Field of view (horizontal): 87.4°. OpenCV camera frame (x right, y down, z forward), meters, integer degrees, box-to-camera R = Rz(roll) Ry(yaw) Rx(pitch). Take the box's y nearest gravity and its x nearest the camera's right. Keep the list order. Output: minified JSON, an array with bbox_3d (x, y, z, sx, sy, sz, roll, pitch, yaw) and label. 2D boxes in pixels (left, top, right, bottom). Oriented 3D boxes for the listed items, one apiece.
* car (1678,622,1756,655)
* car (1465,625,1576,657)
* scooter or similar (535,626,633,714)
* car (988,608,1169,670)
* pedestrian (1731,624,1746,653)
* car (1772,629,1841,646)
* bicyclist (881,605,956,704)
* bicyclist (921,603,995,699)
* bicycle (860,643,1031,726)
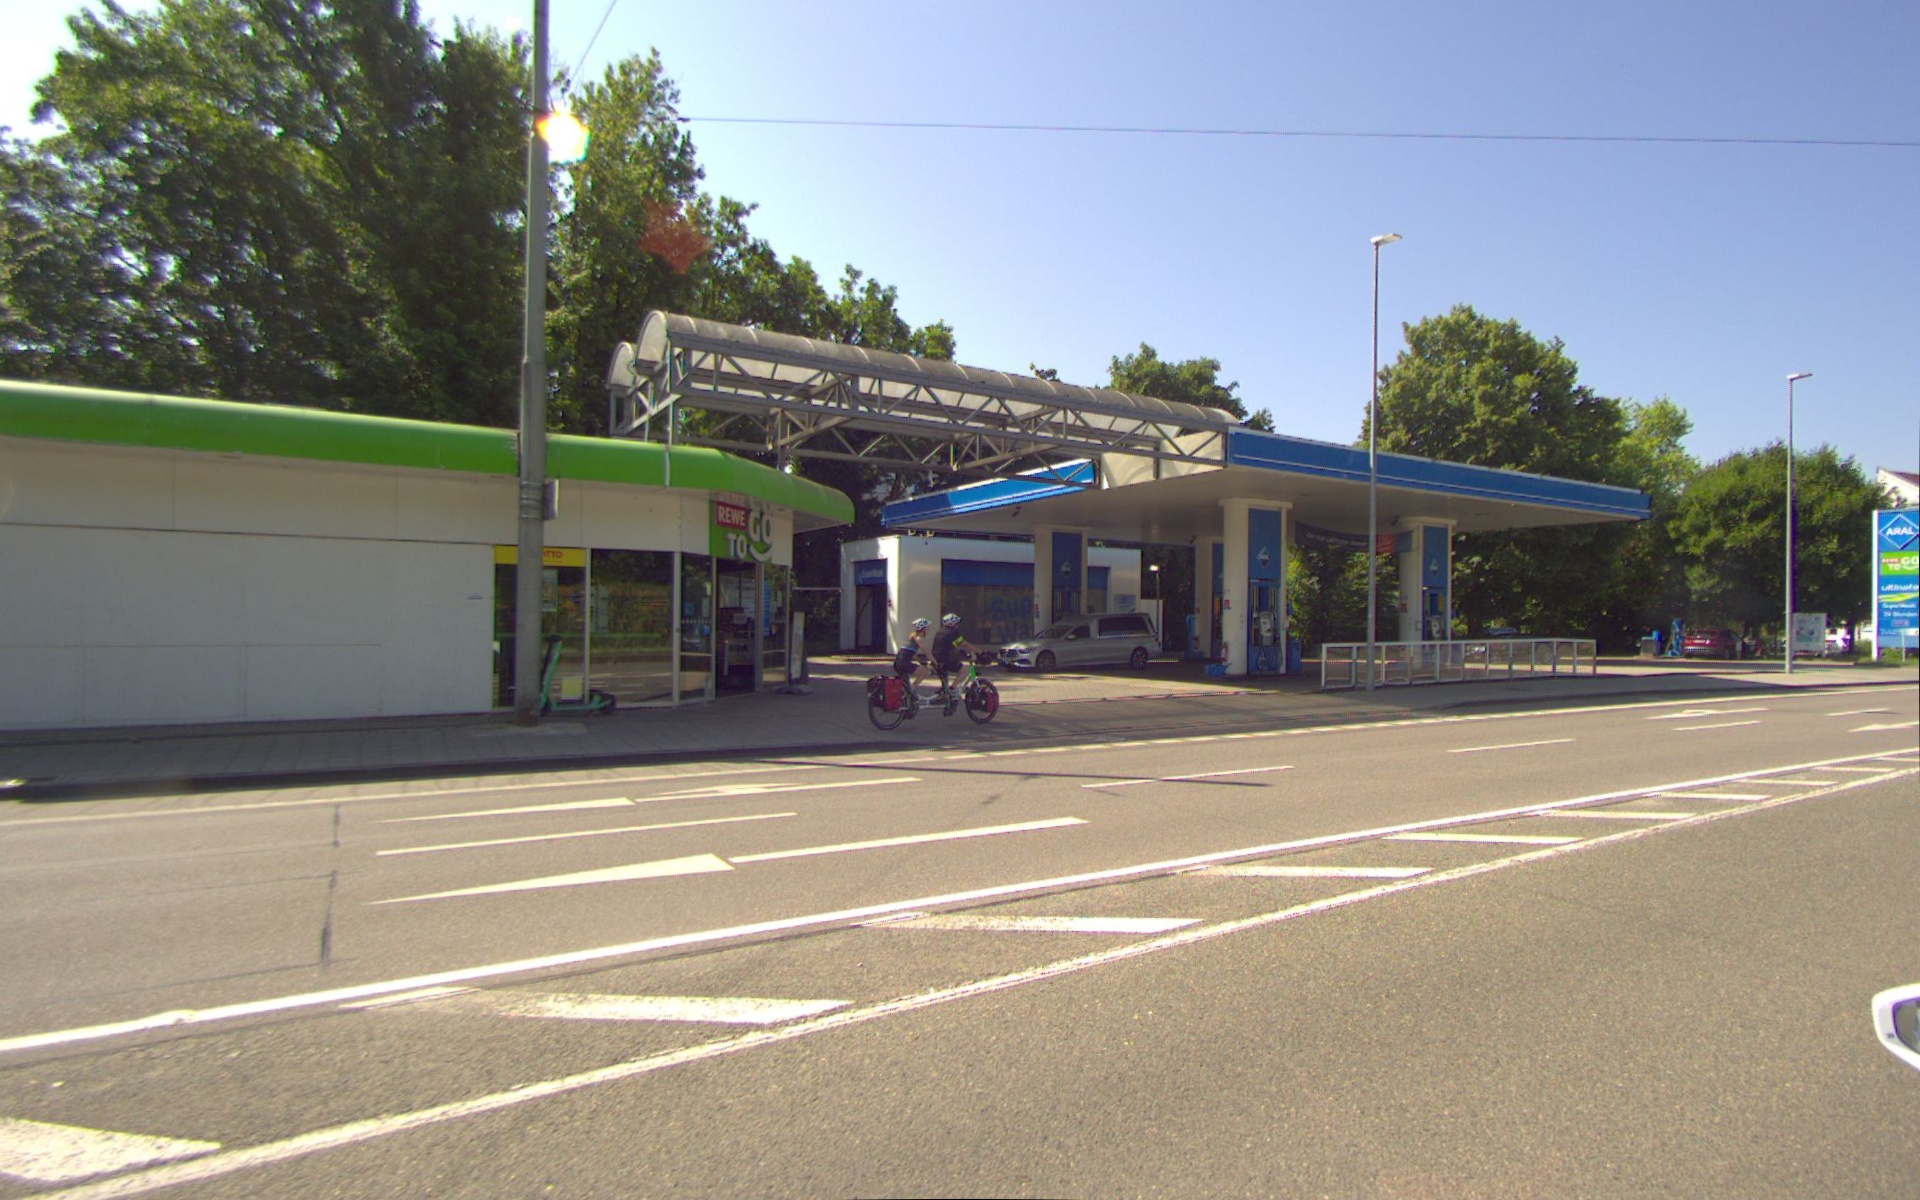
[{"bbox_3d":[40.164,2.009,53.264,4.466,1.591,1.790,-1,0,-32],"label":"car"},{"bbox_3d":[25.345,1.848,45.484,4.165,1.363,1.803,0,-1,-8],"label":"car"},{"bbox_3d":[-5.529,1.007,14.785,1.326,1.254,0.440,1,-1,-22],"label":"scooter or similar"},{"bbox_3d":[3.810,1.196,31.714,5.899,1.805,1.833,1,-1,-33],"label":"car"},{"bbox_3d":[40.961,2.035,52.859,0.494,1.501,0.496,1,-1,-31],"label":"pedestrian"},{"bbox_3d":[63.352,2.761,75.225,1.551,1.221,3.646,1,-1,-20],"label":"car"},{"bbox_3d":[-0.637,0.809,15.419,0.825,1.455,0.840,-1,1,-39],"label":"bicyclist"},{"bbox_3d":[-0.032,0.777,15.920,0.825,1.455,0.840,-1,1,-40],"label":"bicyclist"},{"bbox_3d":[-0.182,1.284,15.826,2.749,1.109,0.818,1,3,-39],"label":"bicycle"}]
